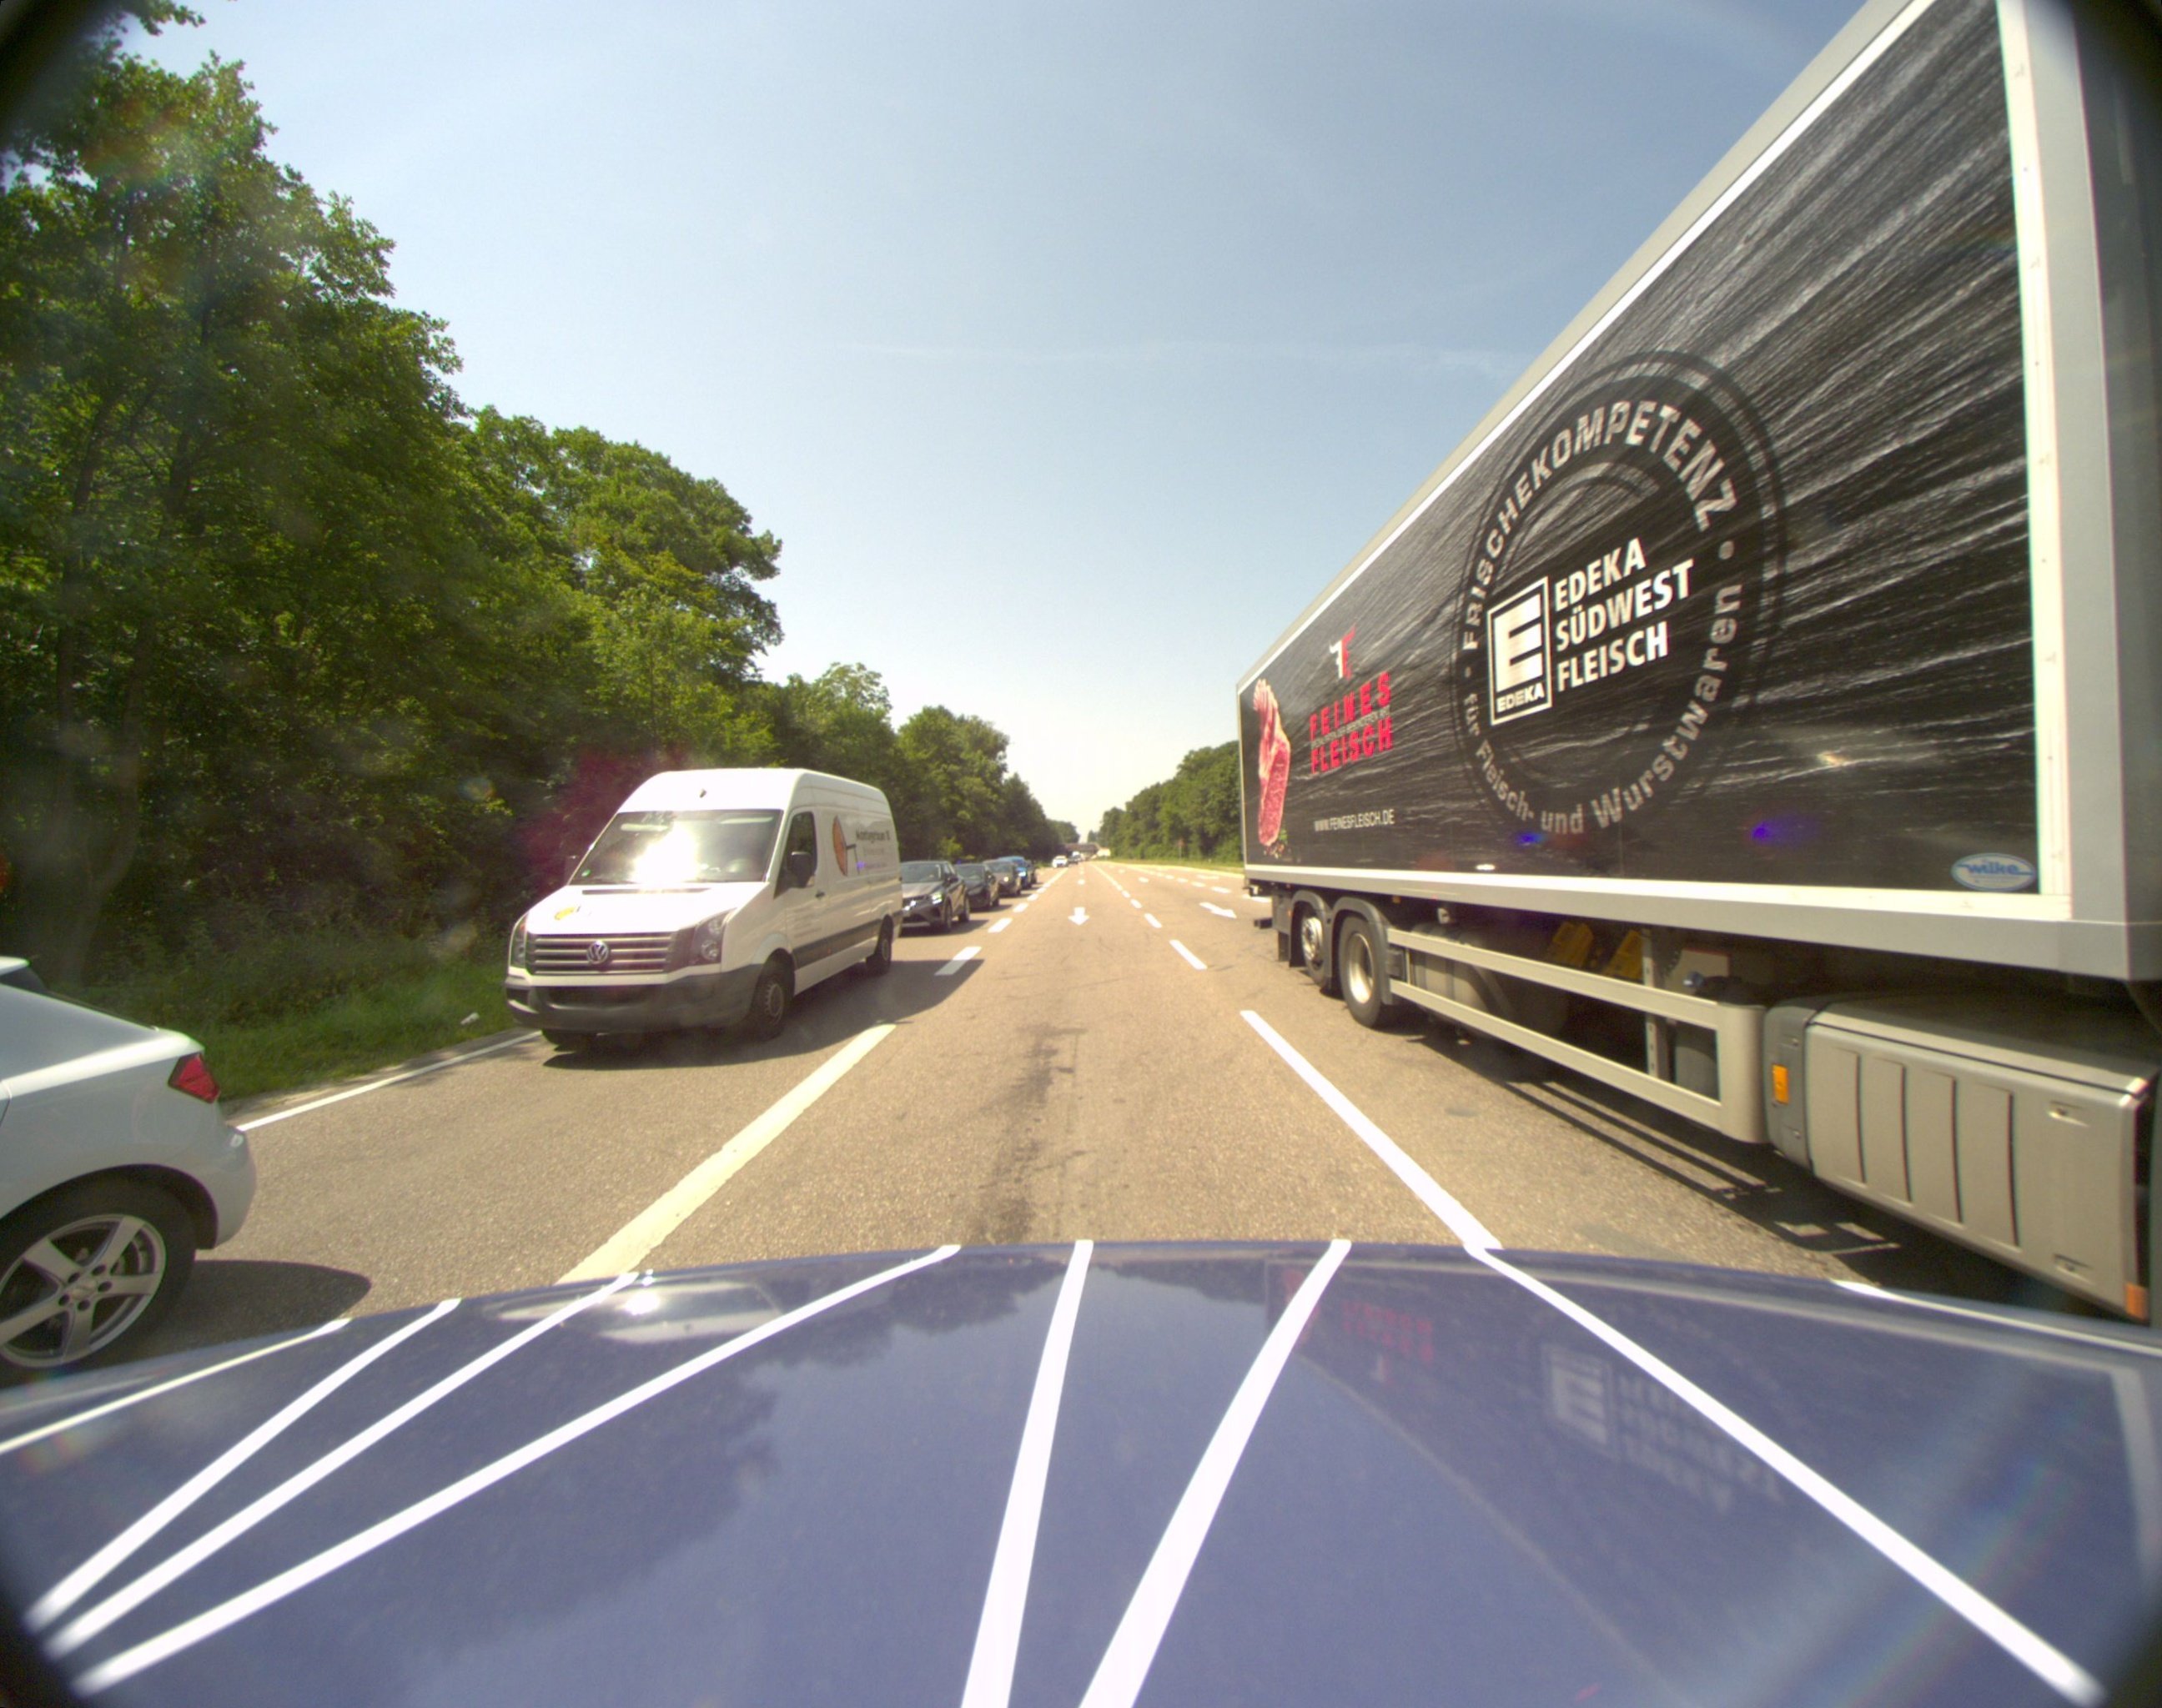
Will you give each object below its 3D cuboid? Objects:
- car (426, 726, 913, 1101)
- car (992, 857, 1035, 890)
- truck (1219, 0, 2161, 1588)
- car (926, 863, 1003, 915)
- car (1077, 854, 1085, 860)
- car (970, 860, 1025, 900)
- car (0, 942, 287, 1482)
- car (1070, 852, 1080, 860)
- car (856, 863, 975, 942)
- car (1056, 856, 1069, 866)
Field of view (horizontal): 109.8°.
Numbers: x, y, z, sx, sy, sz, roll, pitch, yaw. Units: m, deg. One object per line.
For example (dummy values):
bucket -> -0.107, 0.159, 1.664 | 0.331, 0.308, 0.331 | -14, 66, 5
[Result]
car -> -3.632, 0.433, 8.500 | 1.974, 2.629, 6.060 | -2, 0, 1
car -> -3.235, 0.907, 37.259 | 1.796, 1.431, 4.228 | -1, 0, -1
truck -> 3.493, -0.460, 5.028 | 2.753, 3.862, 11.318 | -2, 0, -1
car -> -3.488, 1.010, 23.508 | 1.796, 1.348, 4.228 | -1, 0, -1
car -> 0.043, 0.665, 179.909 | 1.796, 1.431, 4.228 | -1, 0, -1
car -> -3.303, 0.989, 30.825 | 1.796, 1.431, 4.228 | -1, 0, -1
car -> -3.971, 1.095, 0.890 | 1.693, 1.427, 4.001 | -3, 0, 3
car -> -1.165, 0.372, 139.623 | 1.796, 1.431, 4.228 | -1, 0, -1
car -> -3.589, 0.986, 17.222 | 1.796, 1.452, 4.228 | -2, 0, -1
car -> -2.539, 0.968, 105.314 | 1.796, 1.431, 4.228 | 0, 0, -1
